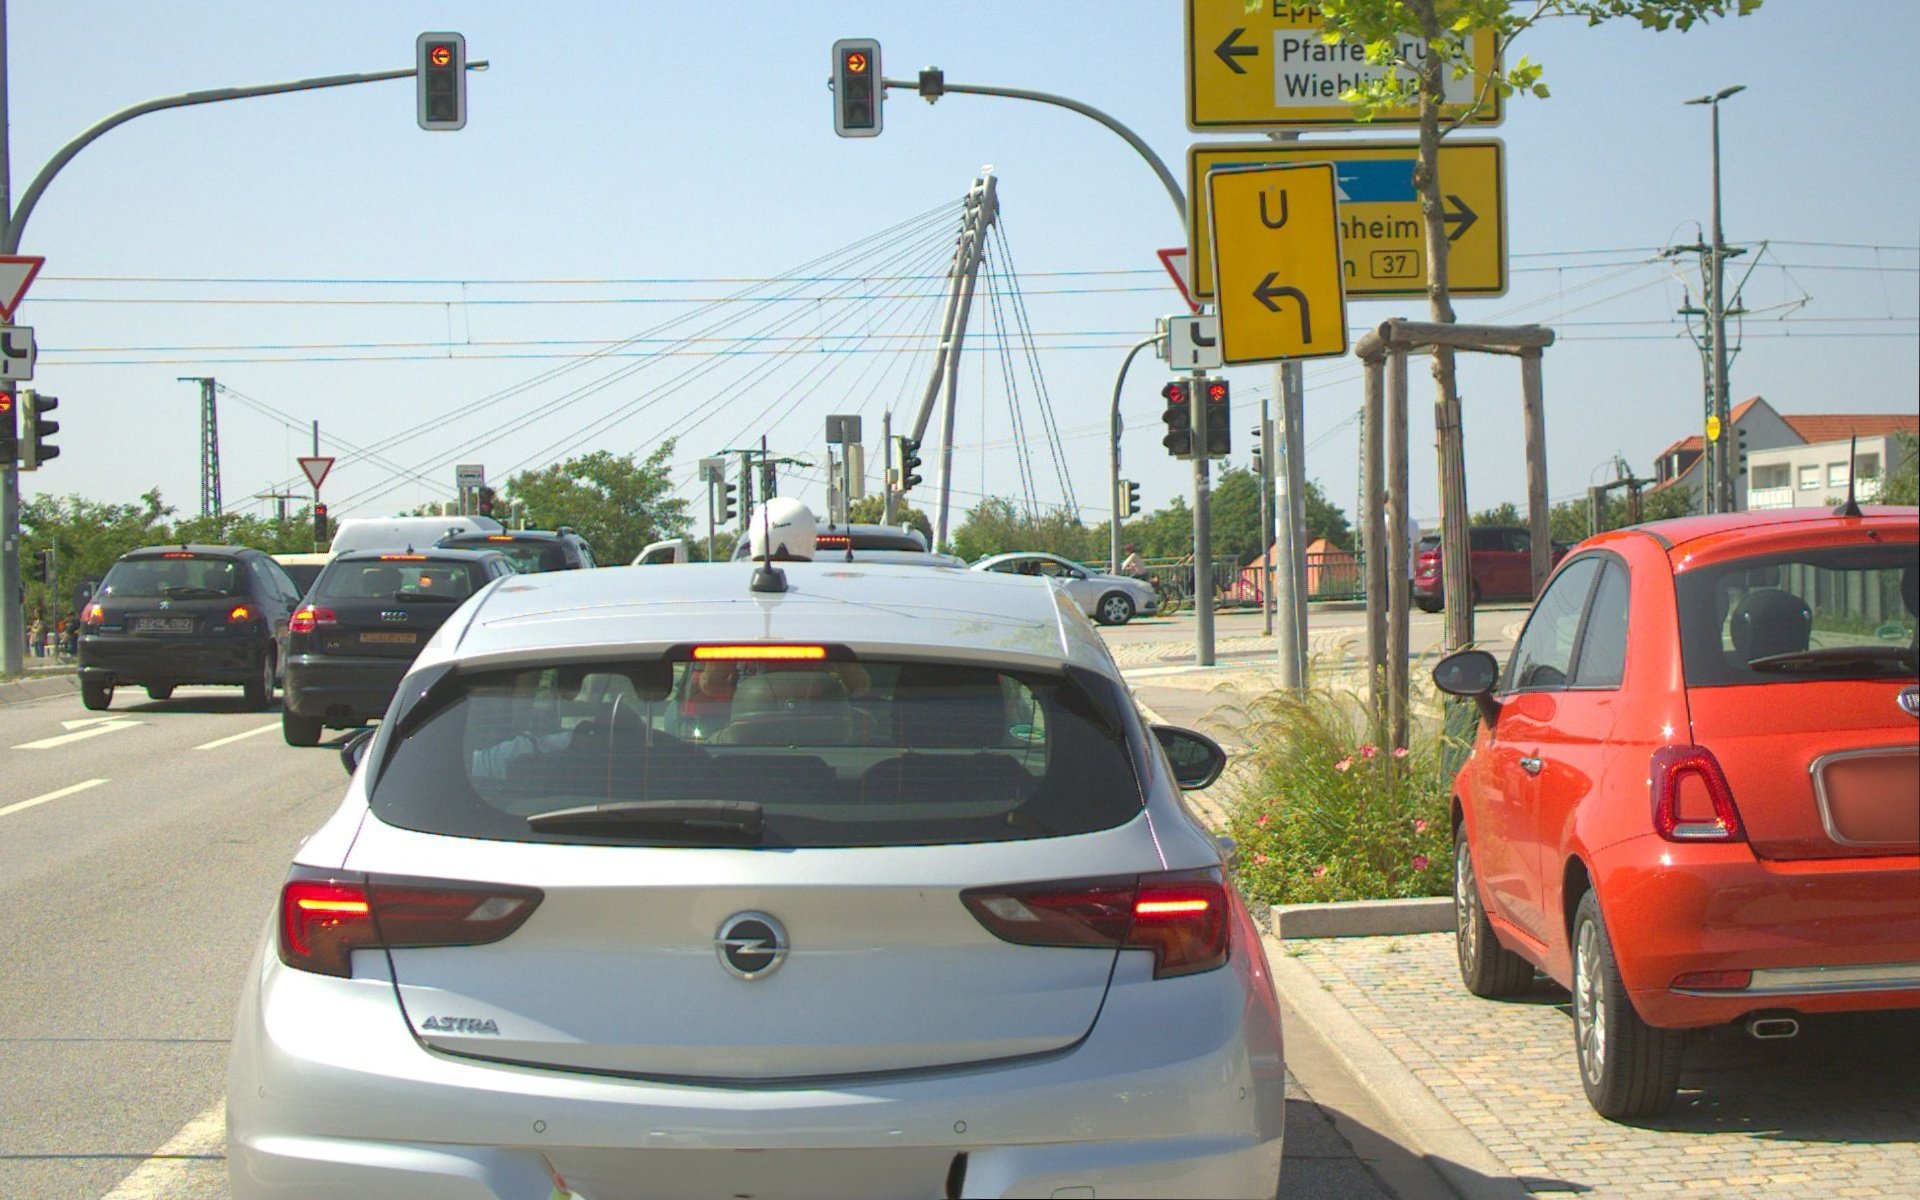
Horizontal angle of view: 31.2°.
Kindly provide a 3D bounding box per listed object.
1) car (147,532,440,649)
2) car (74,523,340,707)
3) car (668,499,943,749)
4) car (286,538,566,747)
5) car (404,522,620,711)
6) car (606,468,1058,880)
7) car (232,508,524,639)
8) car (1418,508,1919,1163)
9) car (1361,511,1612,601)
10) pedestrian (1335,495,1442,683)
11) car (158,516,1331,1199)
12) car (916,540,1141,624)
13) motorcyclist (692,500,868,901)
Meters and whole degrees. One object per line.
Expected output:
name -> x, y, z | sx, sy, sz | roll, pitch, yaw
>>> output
car -> -11.829, -0.184, 61.075 | 4.705, 2.007, 1.999 | 0, 0, 15
car -> -6.735, 0.106, 31.079 | 1.597, 1.542, 3.762 | 1, 1, -1
car -> -0.993, 0.094, 23.807 | 1.724, 1.558, 4.000 | 1, 2, 0
car -> -3.920, 0.277, 25.728 | 1.575, 1.429, 3.786 | 1, 1, -1
car -> -4.059, 0.123, 31.626 | 1.649, 1.610, 3.821 | 1, 1, -3
car -> -0.597, 0.273, 17.547 | 1.993, 1.814, 4.402 | 1, 2, -1
car -> -10.723, -0.492, 63.434 | 5.002, 2.368, 1.783 | 0, 0, 12
car -> 2.338, 0.512, 9.752 | 1.610, 1.491, 3.352 | -2, 1, 1
car -> 9.772, -0.811, 63.930 | 4.273, 1.626, 1.756 | 0, 0, -10
pedestrian -> 4.242, -0.112, 34.032 | 0.795, 1.830, 0.649 | -1, 1, -38
car -> -0.427, 0.602, 7.155 | 1.742, 1.473, 4.001 | 1, 1, -3
car -> 1.227, -0.331, 63.390 | 3.986, 1.477, 2.000 | 1, 1, -3
motorcyclist -> -0.633, 0.346, 12.278 | 0.581, 1.384, 0.707 | 1, 0, -1
